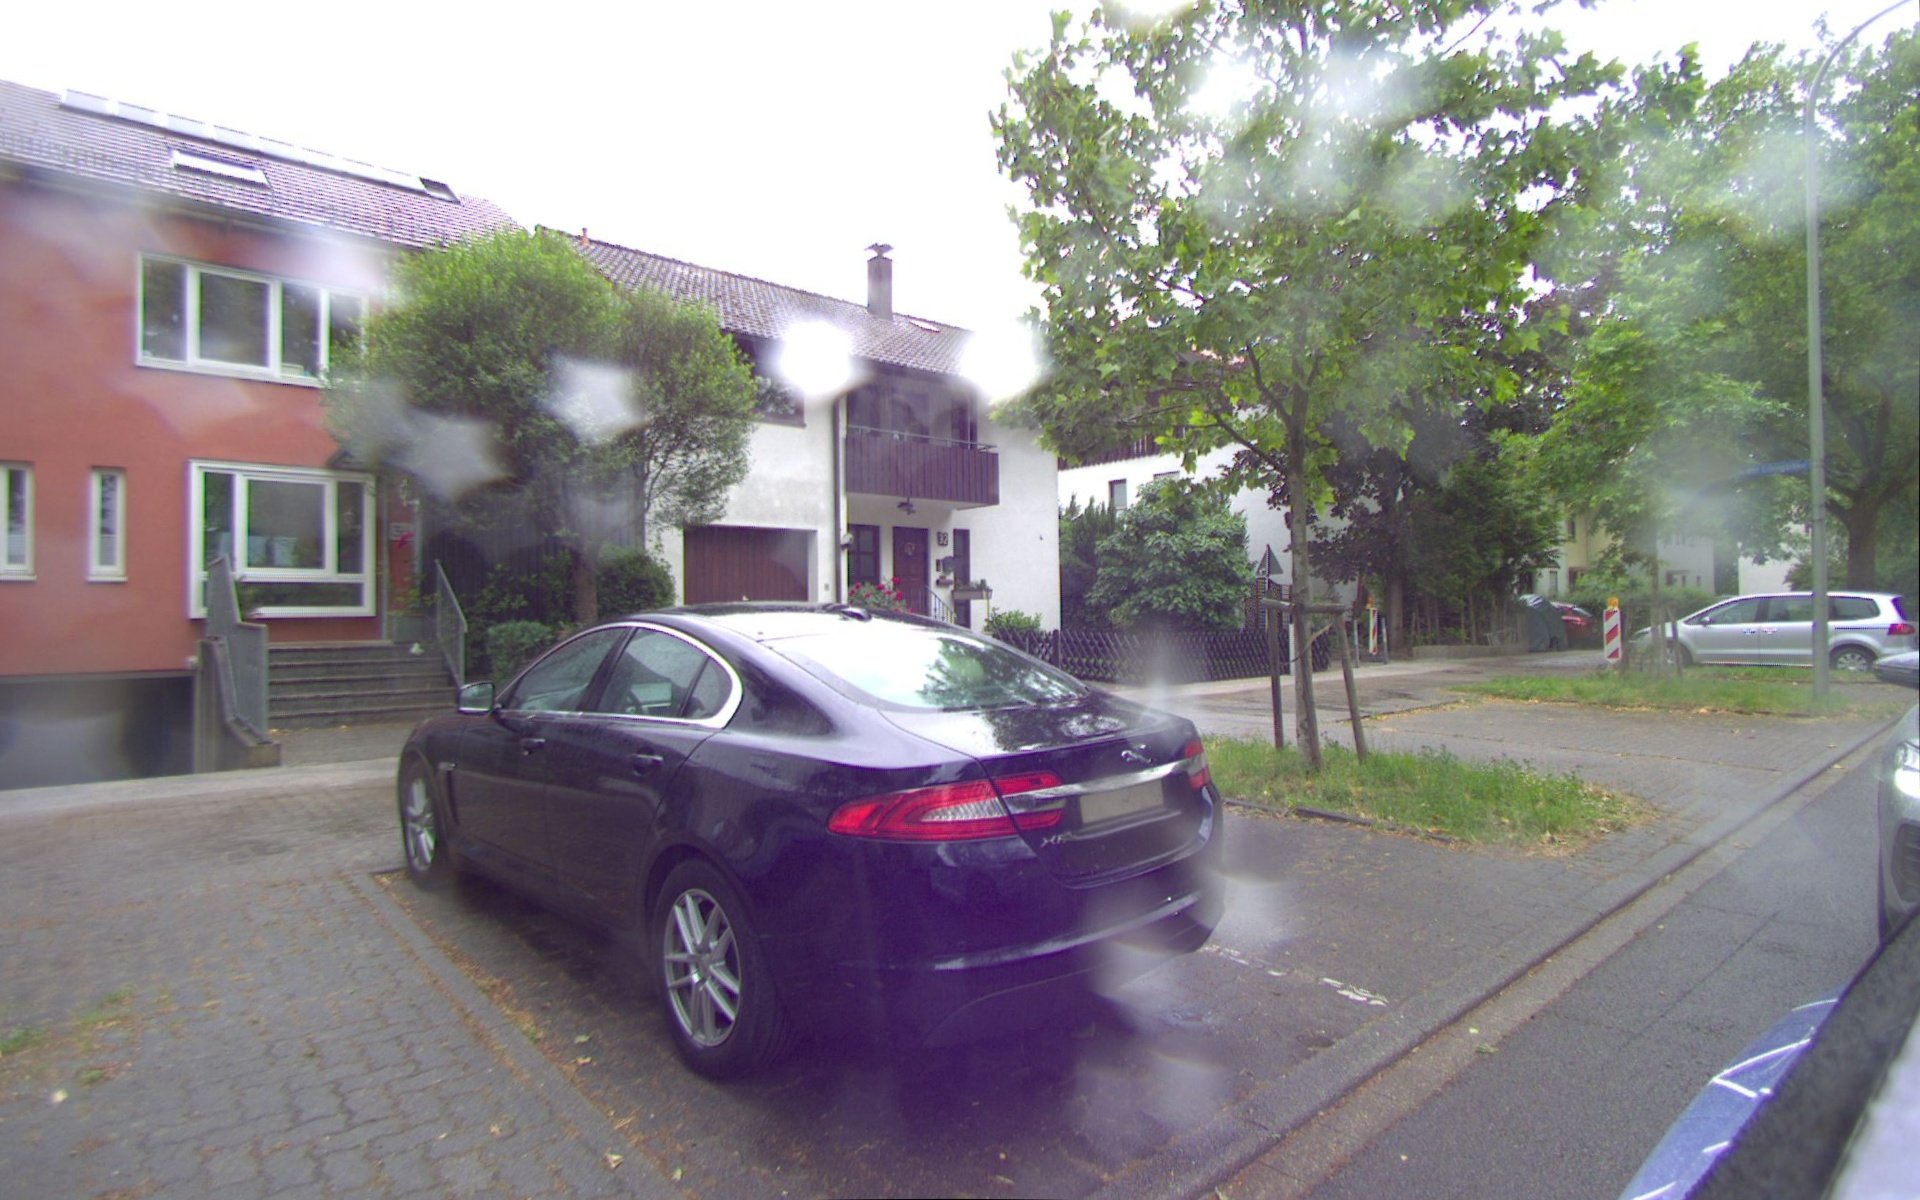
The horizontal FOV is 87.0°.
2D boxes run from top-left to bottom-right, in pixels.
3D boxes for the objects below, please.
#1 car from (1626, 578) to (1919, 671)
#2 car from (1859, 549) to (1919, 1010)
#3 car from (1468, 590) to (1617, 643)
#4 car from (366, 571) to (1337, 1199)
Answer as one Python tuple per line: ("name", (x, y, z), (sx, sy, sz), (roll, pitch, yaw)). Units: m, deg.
("car", (16.560, 0.451, 20.617), (1.942, 1.682, 4.694), (0, 0, -42))
("car", (5.556, 0.640, 4.427), (4.346, 1.638, 1.861), (0, 0, -41))
("car", (19.002, 0.512, 33.117), (1.809, 1.633, 3.853), (0, 0, -39))
("car", (-0.988, 0.677, 4.651), (1.906, 1.491, 4.768), (0, 0, -45))
